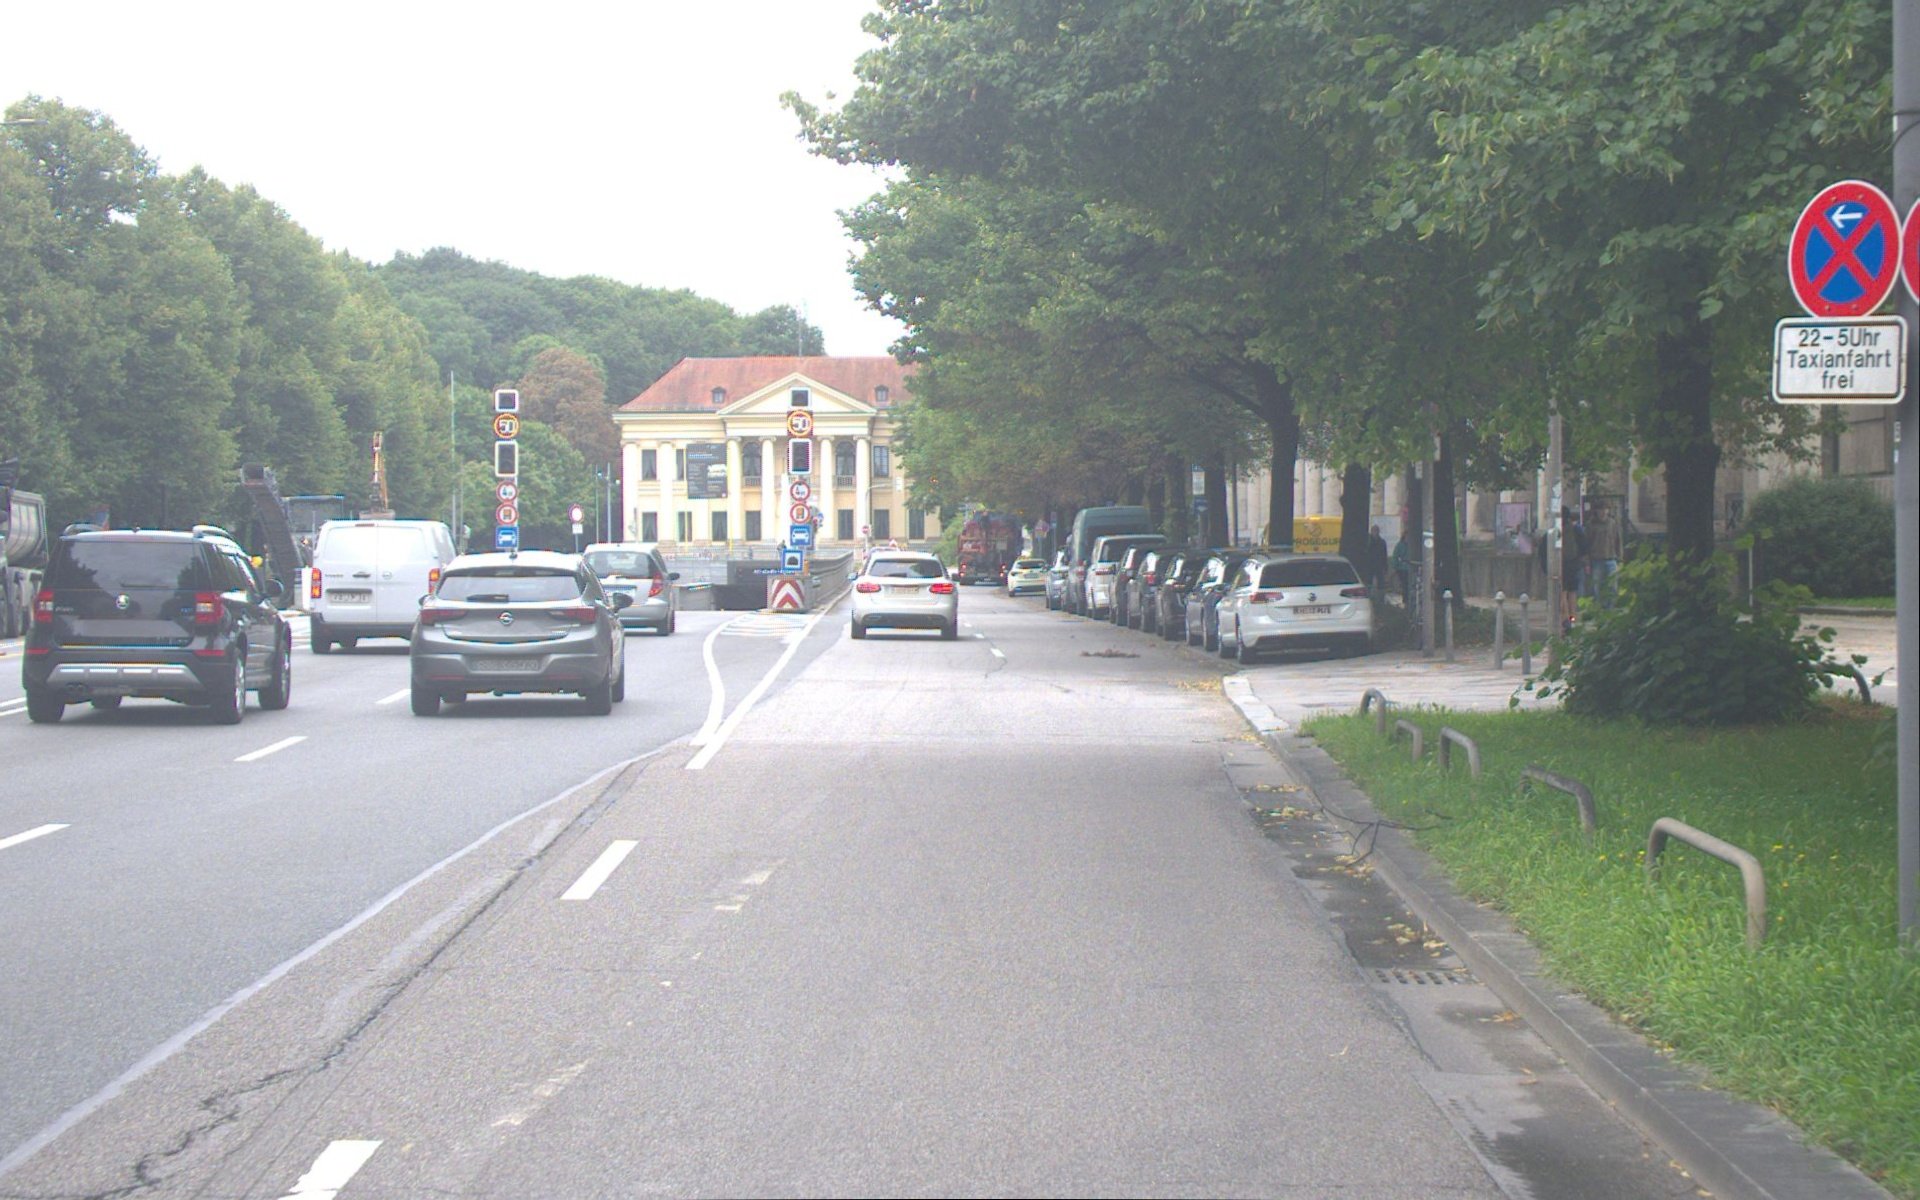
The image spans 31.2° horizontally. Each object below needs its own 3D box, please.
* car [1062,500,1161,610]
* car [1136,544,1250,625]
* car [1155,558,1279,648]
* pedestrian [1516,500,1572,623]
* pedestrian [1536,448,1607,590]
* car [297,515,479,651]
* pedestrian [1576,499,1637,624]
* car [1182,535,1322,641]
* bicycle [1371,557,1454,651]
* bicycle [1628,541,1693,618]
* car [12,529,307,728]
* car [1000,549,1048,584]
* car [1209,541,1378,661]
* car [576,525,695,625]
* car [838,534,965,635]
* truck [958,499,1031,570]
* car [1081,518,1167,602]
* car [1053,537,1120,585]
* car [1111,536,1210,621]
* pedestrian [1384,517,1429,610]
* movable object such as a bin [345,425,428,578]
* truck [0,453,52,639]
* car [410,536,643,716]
[{"bbox_3d":[3.736,-1.121,85.425,1.993,2.634,4.878,1,1,-2],"label":"car"},{"bbox_3d":[4.357,-0.315,64.813,1.822,1.459,4.028,-1,1,0],"label":"car"},{"bbox_3d":[4.384,0.018,59.252,1.724,1.459,4.776,-1,1,0],"label":"car"},{"bbox_3d":[9.106,-0.603,53.607,0.699,1.903,0.771,1,1,0],"label":"pedestrian"},{"bbox_3d":[8.294,-1.096,46.642,0.779,1.903,0.771,1,1,0],"label":"pedestrian"},{"bbox_3d":[-8.140,-0.255,49.303,1.898,1.841,4.956,0,1,-2],"label":"car"},{"bbox_3d":[10.055,-0.600,53.498,0.764,1.903,0.771,1,1,0],"label":"pedestrian"},{"bbox_3d":[4.442,-0.204,52.897,1.724,1.544,4.586,-1,1,0],"label":"car"},{"bbox_3d":[6.135,0.039,46.740,0.628,1.227,2.619,1,1,-3],"label":"bicycle"},{"bbox_3d":[13.131,-0.392,64.501,0.699,1.410,2.299,-1,1,-1],"label":"bicycle"},{"bbox_3d":[-7.002,0.214,30.464,1.722,1.631,4.205,0,1,-2],"label":"car"},{"bbox_3d":[2.444,-1.286,132.210,1.724,1.319,4.028,-1,1,0],"label":"car"},{"bbox_3d":[4.539,-0.017,47.391,1.827,1.544,4.752,-1,1,0],"label":"car"},{"bbox_3d":[-5.614,-0.452,59.796,1.779,1.648,4.000,1,1,-2],"label":"car"},{"bbox_3d":[-1.021,-0.282,58.412,1.779,1.639,4.001,1,1,-6],"label":"car"},{"bbox_3d":[1.664,-3.216,169.297,3.325,3.355,8.663,1,1,-1],"label":"truck"},{"bbox_3d":[3.711,-0.915,78.345,1.724,1.861,4.028,-1,1,0],"label":"car"},{"bbox_3d":[3.606,-1.117,98.411,1.724,1.319,4.028,-1,1,0],"label":"car"},{"bbox_3d":[4.082,-0.454,70.703,1.724,1.659,4.590,-1,1,0],"label":"car"},{"bbox_3d":[9.251,-0.763,71.241,0.779,1.903,0.771,1,1,0],"label":"pedestrian"},{"bbox_3d":[-24.959,-4.261,149.812,2.699,6.488,5.176,1,1,-1],"label":"movable object such as a bin"},{"bbox_3d":[-19.363,-1.063,66.058,2.840,3.345,8.767,1,1,-9],"label":"truck"},{"bbox_3d":[-3.974,0.201,32.065,1.710,1.546,4.000,1,1,-1],"label":"car"}]
